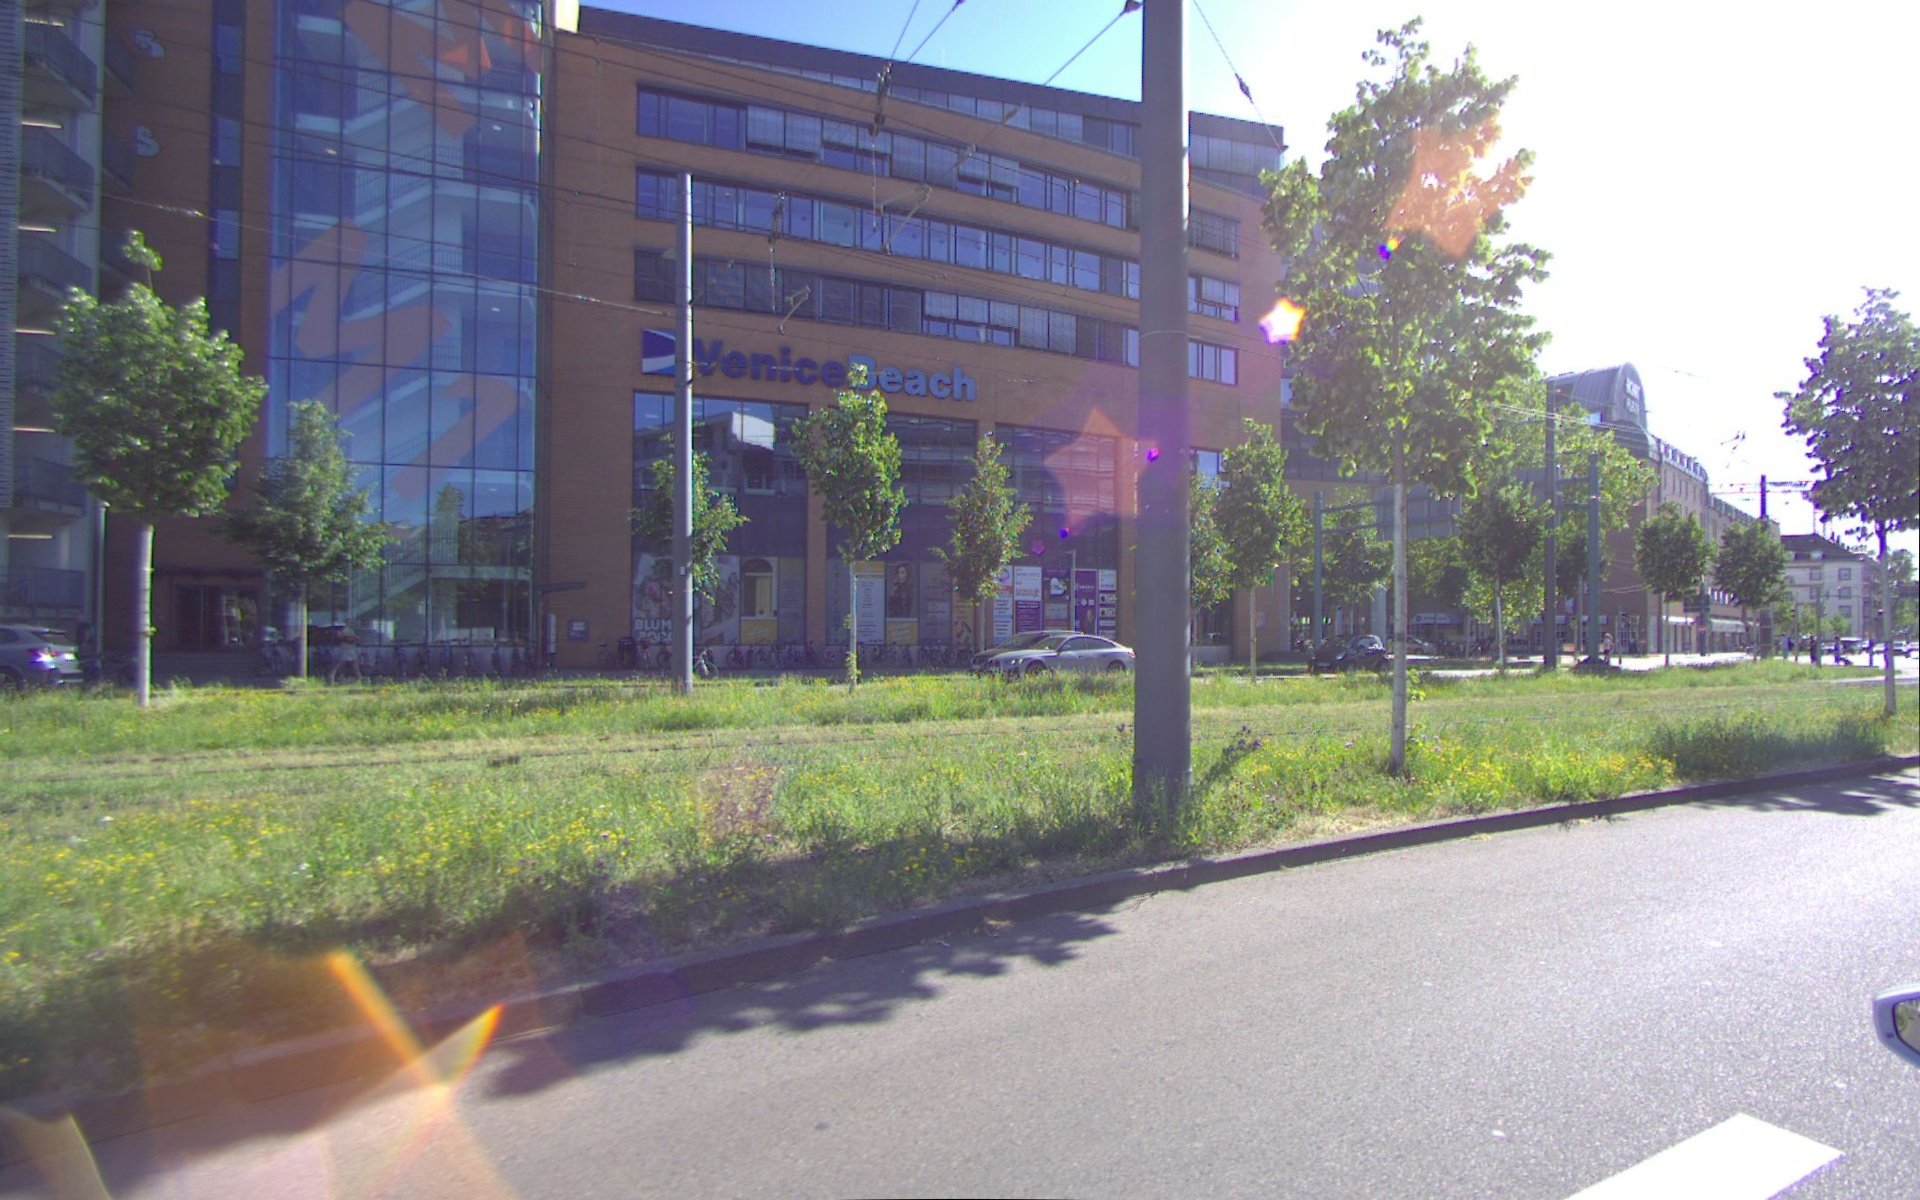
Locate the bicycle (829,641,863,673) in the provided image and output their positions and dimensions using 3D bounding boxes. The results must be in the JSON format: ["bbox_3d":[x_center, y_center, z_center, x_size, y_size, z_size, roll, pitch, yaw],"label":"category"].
[{"bbox_3d":[-4.489,2.210,39.380,0.742,1.138,2.168,1,-1,-23],"label":"bicycle"}]

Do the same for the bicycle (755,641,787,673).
[{"bbox_3d":[-7.252,2.157,38.511,0.742,1.138,2.168,1,-1,-23],"label":"bicycle"}]

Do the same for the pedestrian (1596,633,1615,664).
[{"bbox_3d":[39.320,2.932,61.217,0.617,1.855,0.758,1,-2,-27],"label":"pedestrian"}]

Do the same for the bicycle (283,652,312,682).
[{"bbox_3d":[-20.128,2.015,30.535,0.439,0.830,1.443,1,-1,-23],"label":"bicycle"}]

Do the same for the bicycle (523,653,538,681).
[{"bbox_3d":[-13.931,2.152,32.580,0.439,0.830,1.443,1,-1,-23],"label":"bicycle"}]

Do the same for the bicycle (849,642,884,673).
[{"bbox_3d":[-3.693,2.245,39.611,0.742,1.138,2.168,1,-1,-23],"label":"bicycle"}]

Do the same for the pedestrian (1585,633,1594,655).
[{"bbox_3d":[57.153,4.018,91.233,0.517,1.957,0.747,-1,-2,44],"label":"pedestrian"}]

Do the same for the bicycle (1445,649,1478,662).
[{"bbox_3d":[34.527,3.830,69.184,0.373,0.809,2.006,2,-2,-41],"label":"bicycle"}]

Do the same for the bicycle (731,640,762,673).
[{"bbox_3d":[-8.148,2.136,38.237,0.742,1.138,2.168,1,-1,-23],"label":"bicycle"}]

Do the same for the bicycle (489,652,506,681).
[{"bbox_3d":[-14.794,2.120,32.164,0.439,0.830,1.443,1,-1,-23],"label":"bicycle"}]

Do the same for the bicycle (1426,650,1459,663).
[{"bbox_3d":[31.940,3.716,66.504,0.373,0.809,2.006,2,-2,-41],"label":"bicycle"}]

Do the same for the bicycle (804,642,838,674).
[{"bbox_3d":[-5.431,2.241,39.159,0.742,1.138,2.168,1,-1,-23],"label":"bicycle"}]

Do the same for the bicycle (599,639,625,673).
[{"bbox_3d":[-12.683,2.031,36.572,0.742,1.138,2.168,1,-1,-23],"label":"bicycle"}]

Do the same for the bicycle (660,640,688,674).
[{"bbox_3d":[-10.670,2.104,37.432,0.742,1.138,2.168,1,-1,-23],"label":"bicycle"}]

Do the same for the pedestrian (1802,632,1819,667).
[{"bbox_3d":[45.652,2.637,53.917,0.571,1.855,0.498,0,-1,19],"label":"pedestrian"}]

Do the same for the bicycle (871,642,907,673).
[{"bbox_3d":[-2.821,2.247,39.725,0.742,1.138,2.168,1,-1,-23],"label":"bicycle"}]

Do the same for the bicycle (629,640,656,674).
[{"bbox_3d":[-11.711,2.078,37.032,0.742,1.138,2.168,1,-1,-23],"label":"bicycle"}]

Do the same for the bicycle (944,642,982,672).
[{"bbox_3d":[0.111,2.336,41.203,0.742,1.138,2.168,1,-1,-23],"label":"bicycle"}]

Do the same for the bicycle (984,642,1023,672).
[{"bbox_3d":[1.788,2.361,41.843,0.742,1.138,2.168,1,-1,-23],"label":"bicycle"}]

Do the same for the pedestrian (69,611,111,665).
[{"bbox_3d":[-25.705,1.120,29.687,0.650,1.574,0.636,1,-1,-12],"label":"pedestrian"}]

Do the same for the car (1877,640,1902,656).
[{"bbox_3d":[90.526,4.650,97.831,1.594,1.416,3.895,-6,-6,44],"label":"car"}]

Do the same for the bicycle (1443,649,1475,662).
[{"bbox_3d":[34.956,3.884,70.361,0.373,0.809,2.006,2,-2,-41],"label":"bicycle"}]

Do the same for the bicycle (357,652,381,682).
[{"bbox_3d":[-18.226,2.059,31.004,0.439,0.830,1.443,1,-1,-23],"label":"bicycle"}]

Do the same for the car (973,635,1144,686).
[{"bbox_3d":[2.897,1.723,29.312,4.734,1.351,1.984,1,-2,-31],"label":"car"}]

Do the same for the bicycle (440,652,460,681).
[{"bbox_3d":[-16.078,2.095,31.692,0.439,0.830,1.443,1,-1,-23],"label":"bicycle"}]

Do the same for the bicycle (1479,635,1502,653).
[{"bbox_3d":[30.292,2.522,57.351,1.876,0.938,0.351,3,-3,-34],"label":"bicycle"}]

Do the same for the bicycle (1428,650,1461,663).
[{"bbox_3d":[32.603,3.790,67.582,0.373,0.809,2.006,2,-2,-41],"label":"bicycle"}]

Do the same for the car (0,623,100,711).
[{"bbox_3d":[-20.228,1.298,19.880,4.481,1.703,1.986,1,-2,-28],"label":"car"}]

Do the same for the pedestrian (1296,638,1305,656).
[{"bbox_3d":[25.061,3.476,73.961,0.543,1.310,0.424,2,-2,-42],"label":"pedestrian"}]

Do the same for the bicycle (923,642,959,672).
[{"bbox_3d":[-0.788,2.312,40.948,0.742,1.138,2.168,1,-1,-23],"label":"bicycle"}]

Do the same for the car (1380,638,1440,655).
[{"bbox_3d":[36.007,3.694,80.510,1.979,1.247,3.964,2,-2,-33],"label":"car"}]

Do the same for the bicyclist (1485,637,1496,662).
[{"bbox_3d":[30.279,2.815,57.330,0.477,1.395,0.338,3,-3,-34],"label":"bicyclist"}]

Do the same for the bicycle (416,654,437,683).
[{"bbox_3d":[-16.734,2.128,31.527,0.439,0.830,1.443,1,-1,-23],"label":"bicycle"}]

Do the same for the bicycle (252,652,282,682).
[{"bbox_3d":[-20.838,2.015,30.208,0.439,0.830,1.443,1,-1,-23],"label":"bicycle"}]

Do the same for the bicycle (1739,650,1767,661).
[{"bbox_3d":[93.154,6.518,118.035,0.726,1.327,2.469,2,-2,-34],"label":"bicycle"}]

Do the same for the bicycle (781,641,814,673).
[{"bbox_3d":[-6.292,2.202,38.869,0.742,1.138,2.168,1,-1,-23],"label":"bicycle"}]

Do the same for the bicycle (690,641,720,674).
[{"bbox_3d":[-9.536,2.118,37.520,0.742,1.138,2.168,1,-1,-23],"label":"bicycle"}]

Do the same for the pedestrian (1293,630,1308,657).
[{"bbox_3d":[21.477,2.760,63.378,0.780,1.645,0.503,3,-2,-33],"label":"pedestrian"}]

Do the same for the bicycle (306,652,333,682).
[{"bbox_3d":[-19.600,2.032,30.754,0.439,0.830,1.443,1,-1,-23],"label":"bicycle"}]

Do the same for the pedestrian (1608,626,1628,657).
[{"bbox_3d":[40.429,2.558,61.720,0.616,1.855,0.759,1,-2,-24],"label":"pedestrian"}]

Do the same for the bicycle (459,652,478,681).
[{"bbox_3d":[-15.594,2.101,31.861,0.439,0.830,1.443,1,-1,-23],"label":"bicycle"}]

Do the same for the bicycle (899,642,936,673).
[{"bbox_3d":[-1.734,2.300,40.519,0.742,1.138,2.168,1,-1,-23],"label":"bicycle"}]

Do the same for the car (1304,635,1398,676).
[{"bbox_3d":[13.935,1.960,35.802,3.257,1.377,1.421,1,-2,-31],"label":"car"}]

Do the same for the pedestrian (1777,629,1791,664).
[{"bbox_3d":[44.228,2.508,53.910,0.452,1.855,0.459,0,-1,19],"label":"pedestrian"}]

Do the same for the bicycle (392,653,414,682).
[{"bbox_3d":[-17.363,2.099,31.309,0.439,0.830,1.443,1,-1,-23],"label":"bicycle"}]

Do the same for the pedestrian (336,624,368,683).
[{"bbox_3d":[-17.879,1.568,29.549,0.770,1.707,0.592,1,-2,-31],"label":"pedestrian"}]

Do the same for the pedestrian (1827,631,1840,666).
[{"bbox_3d":[47.859,2.650,55.024,0.379,1.855,0.463,0,-2,26],"label":"pedestrian"}]
